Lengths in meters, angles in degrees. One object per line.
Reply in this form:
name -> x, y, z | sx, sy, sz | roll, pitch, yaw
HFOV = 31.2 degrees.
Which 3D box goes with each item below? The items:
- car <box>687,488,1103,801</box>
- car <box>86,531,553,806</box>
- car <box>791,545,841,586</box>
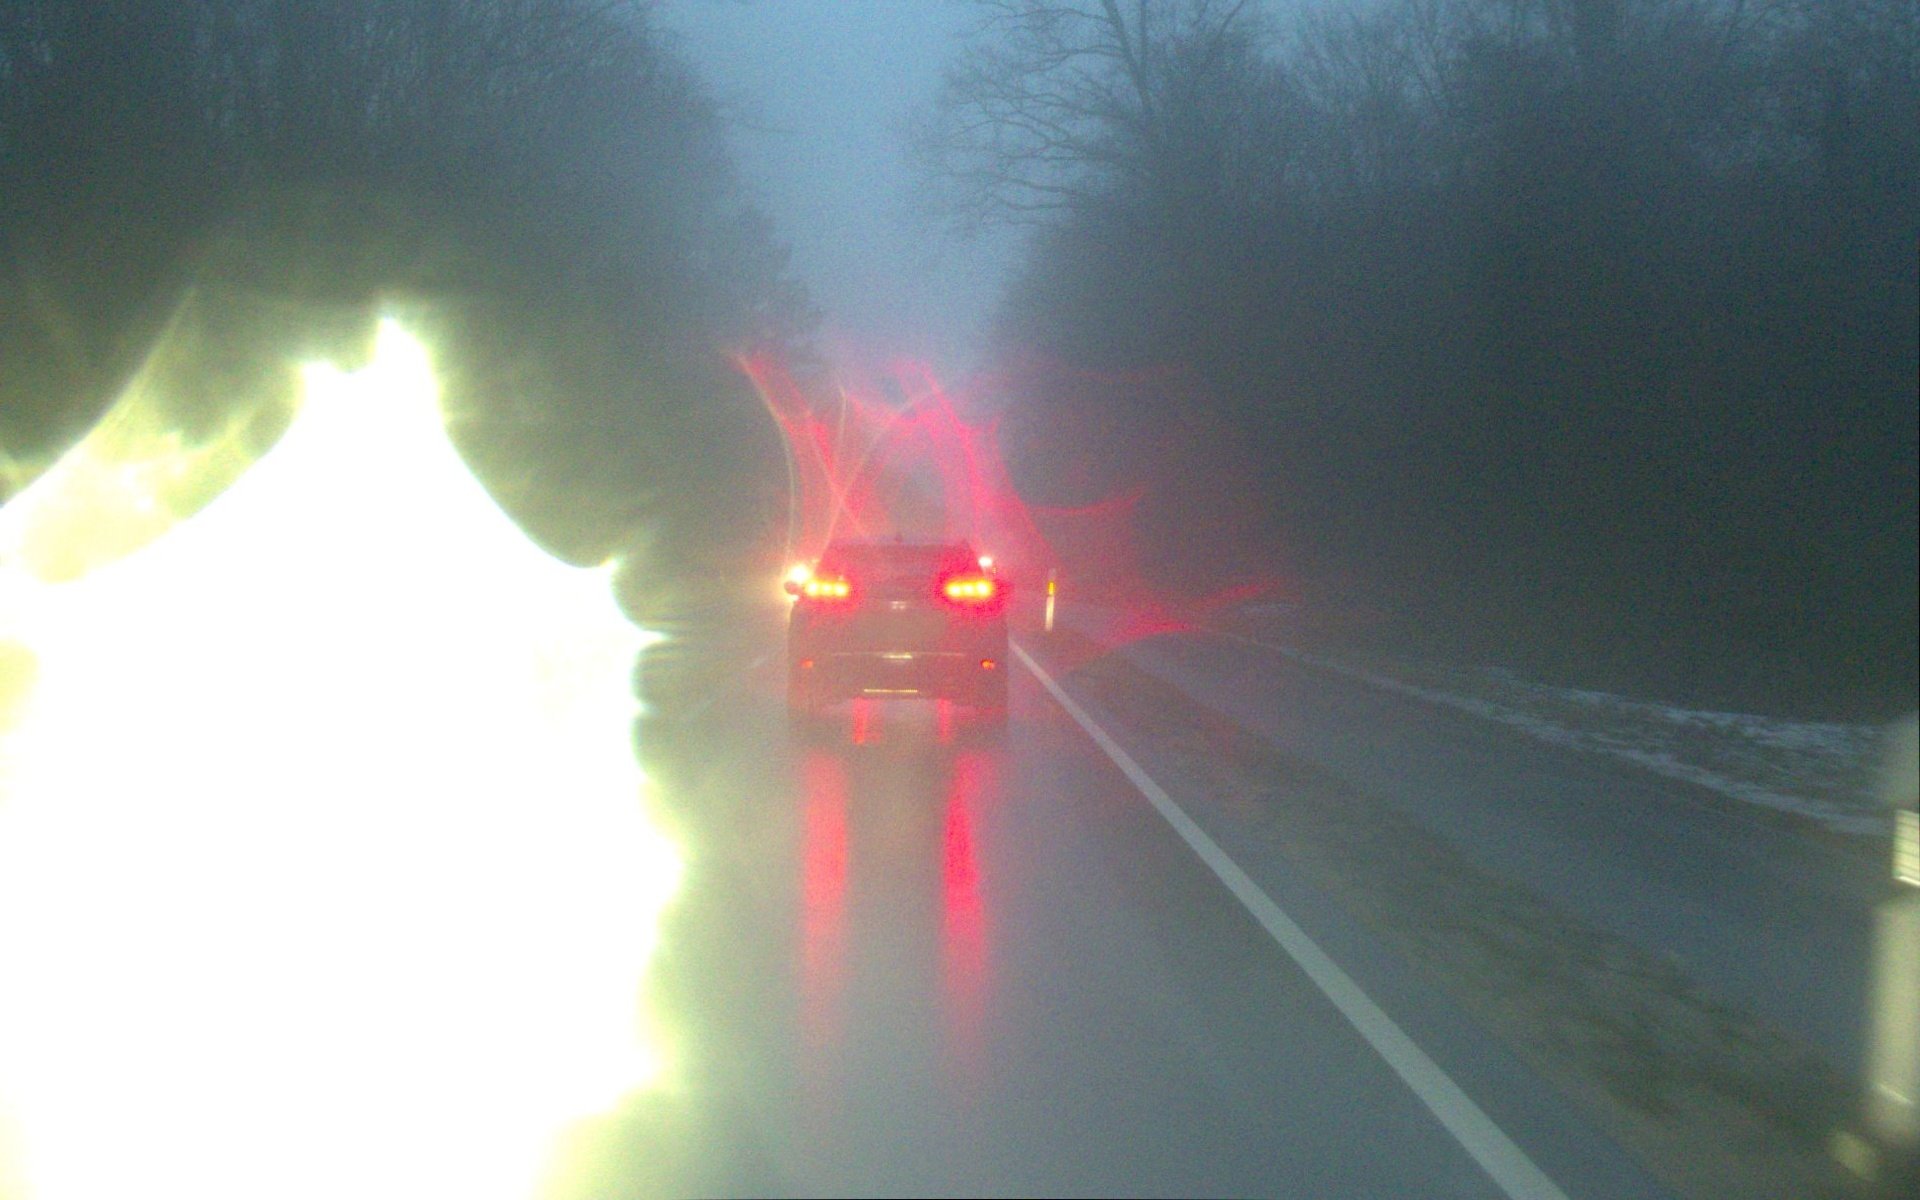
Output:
car -> -0.486, 0.310, 29.895 | 3.183, 2.378, 6.636 | 1, 1, 0
car -> -4.028, 0.354, 22.506 | 1.975, 1.562, 4.927 | -1, 1, 2
car -> -5.228, -1.256, 125.307 | 1.691, 1.415, 4.000 | -1, 1, -1
